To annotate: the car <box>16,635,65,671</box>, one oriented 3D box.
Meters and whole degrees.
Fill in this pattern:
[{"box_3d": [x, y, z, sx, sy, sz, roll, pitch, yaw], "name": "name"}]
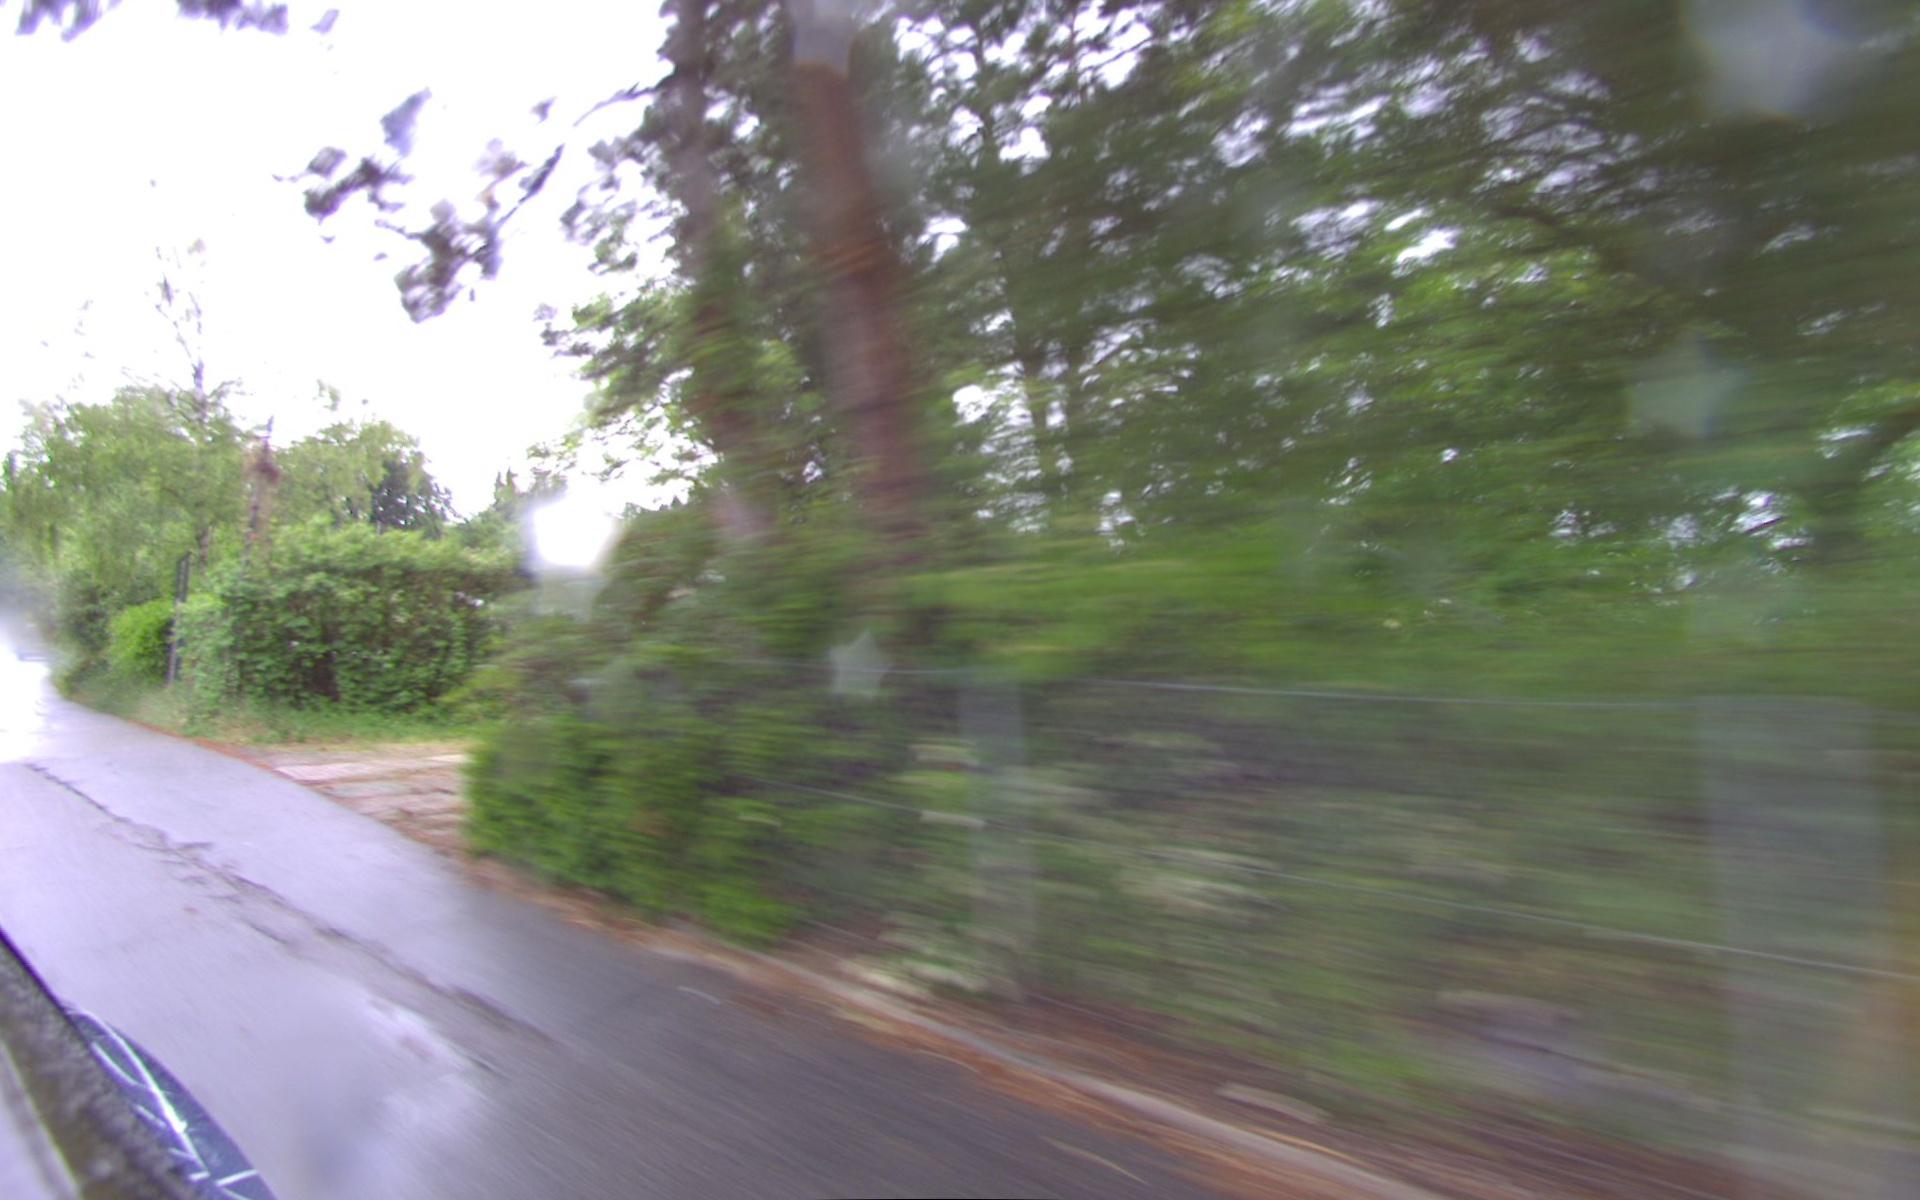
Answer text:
[{"box_3d": [-46.885, 2.694, 51.577, 1.666, 1.740, 4.071, 4, -5, -44], "name": "car"}]
